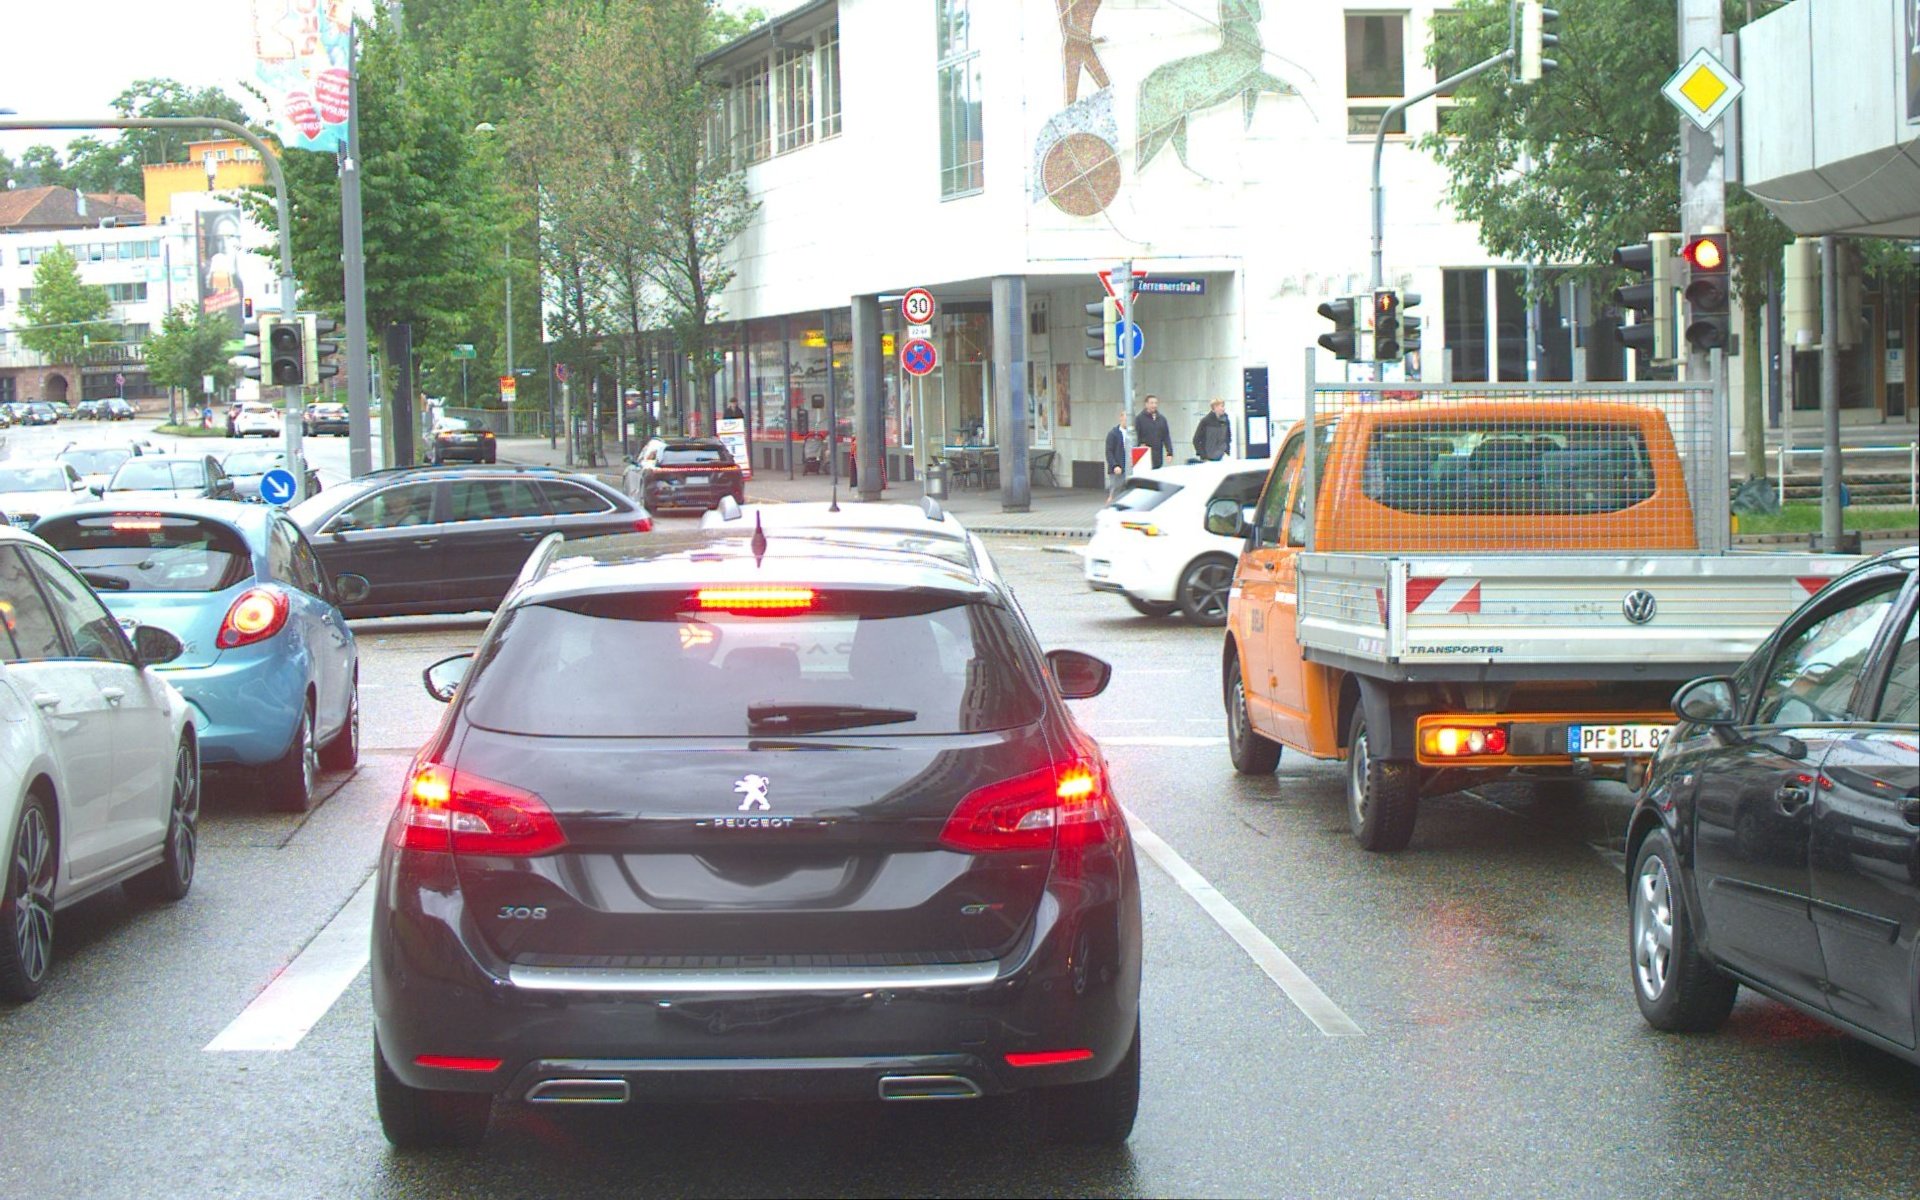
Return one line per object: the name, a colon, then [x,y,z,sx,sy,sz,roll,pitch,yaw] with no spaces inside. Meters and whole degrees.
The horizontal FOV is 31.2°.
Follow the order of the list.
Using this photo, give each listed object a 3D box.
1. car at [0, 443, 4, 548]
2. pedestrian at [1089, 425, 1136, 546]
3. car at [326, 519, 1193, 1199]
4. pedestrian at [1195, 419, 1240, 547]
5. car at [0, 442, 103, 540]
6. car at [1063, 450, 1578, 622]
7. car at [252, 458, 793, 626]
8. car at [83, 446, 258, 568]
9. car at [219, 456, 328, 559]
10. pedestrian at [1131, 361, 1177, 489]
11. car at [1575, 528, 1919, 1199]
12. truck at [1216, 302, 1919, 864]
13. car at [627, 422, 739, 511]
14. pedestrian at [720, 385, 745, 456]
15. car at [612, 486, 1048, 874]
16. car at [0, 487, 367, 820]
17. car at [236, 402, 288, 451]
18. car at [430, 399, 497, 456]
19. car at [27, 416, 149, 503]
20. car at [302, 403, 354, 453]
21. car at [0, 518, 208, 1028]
car: [-14.286,-1.419,47.110,1.574,1.481,3.610,0,2,-4]
pedestrian: [2.228,-1.668,50.231,0.637,1.752,0.733,0,0,6]
car: [-0.482,0.522,9.017,1.777,1.424,3.843,0,2,-2]
pedestrian: [3.867,-1.747,51.594,0.637,1.891,0.733,0,0,6]
car: [-14.565,-1.741,54.126,1.632,1.481,3.611,0,2,-7]
car: [3.225,-0.587,30.949,4.291,1.481,1.639,0,2,-14]
car: [-4.063,-0.563,32.013,4.721,1.481,1.639,0,2,-23]
car: [-10.958,-1.263,47.944,1.744,1.574,4.000,1,0,-4]
car: [-11.676,-1.542,58.575,1.744,1.634,4.001,1,0,-11]
pedestrian: [2.925,-2.636,51.821,0.637,1.891,0.733,0,0,6]
car: [2.810,0.560,8.626,1.616,1.424,3.843,0,2,-3]
truck: [2.579,-0.163,15.870,2.177,2.165,5.021,1,2,-3]
car: [-5.172,-2.507,63.769,1.787,1.449,4.508,-3,4,-7]
pedestrian: [-5.753,-4.532,86.828,0.468,1.742,0.541,1,0,-21]
car: [-0.538,0.252,15.359,1.696,1.481,3.794,1,2,-1]
car: [-3.985,0.190,17.468,1.632,1.481,3.610,0,2,-5]
car: [-29.647,-7.357,145.963,1.705,1.875,4.001,1,0,-18]
car: [-15.113,-5.225,104.470,1.724,1.485,4.734,1,0,-12]
car: [-15.448,-2.489,61.037,1.632,1.481,3.611,0,2,-7]
car: [-27.056,-7.362,147.157,1.705,1.929,4.001,1,0,-18]
car: [-3.720,0.454,11.448,1.777,1.424,3.843,0,2,-3]
